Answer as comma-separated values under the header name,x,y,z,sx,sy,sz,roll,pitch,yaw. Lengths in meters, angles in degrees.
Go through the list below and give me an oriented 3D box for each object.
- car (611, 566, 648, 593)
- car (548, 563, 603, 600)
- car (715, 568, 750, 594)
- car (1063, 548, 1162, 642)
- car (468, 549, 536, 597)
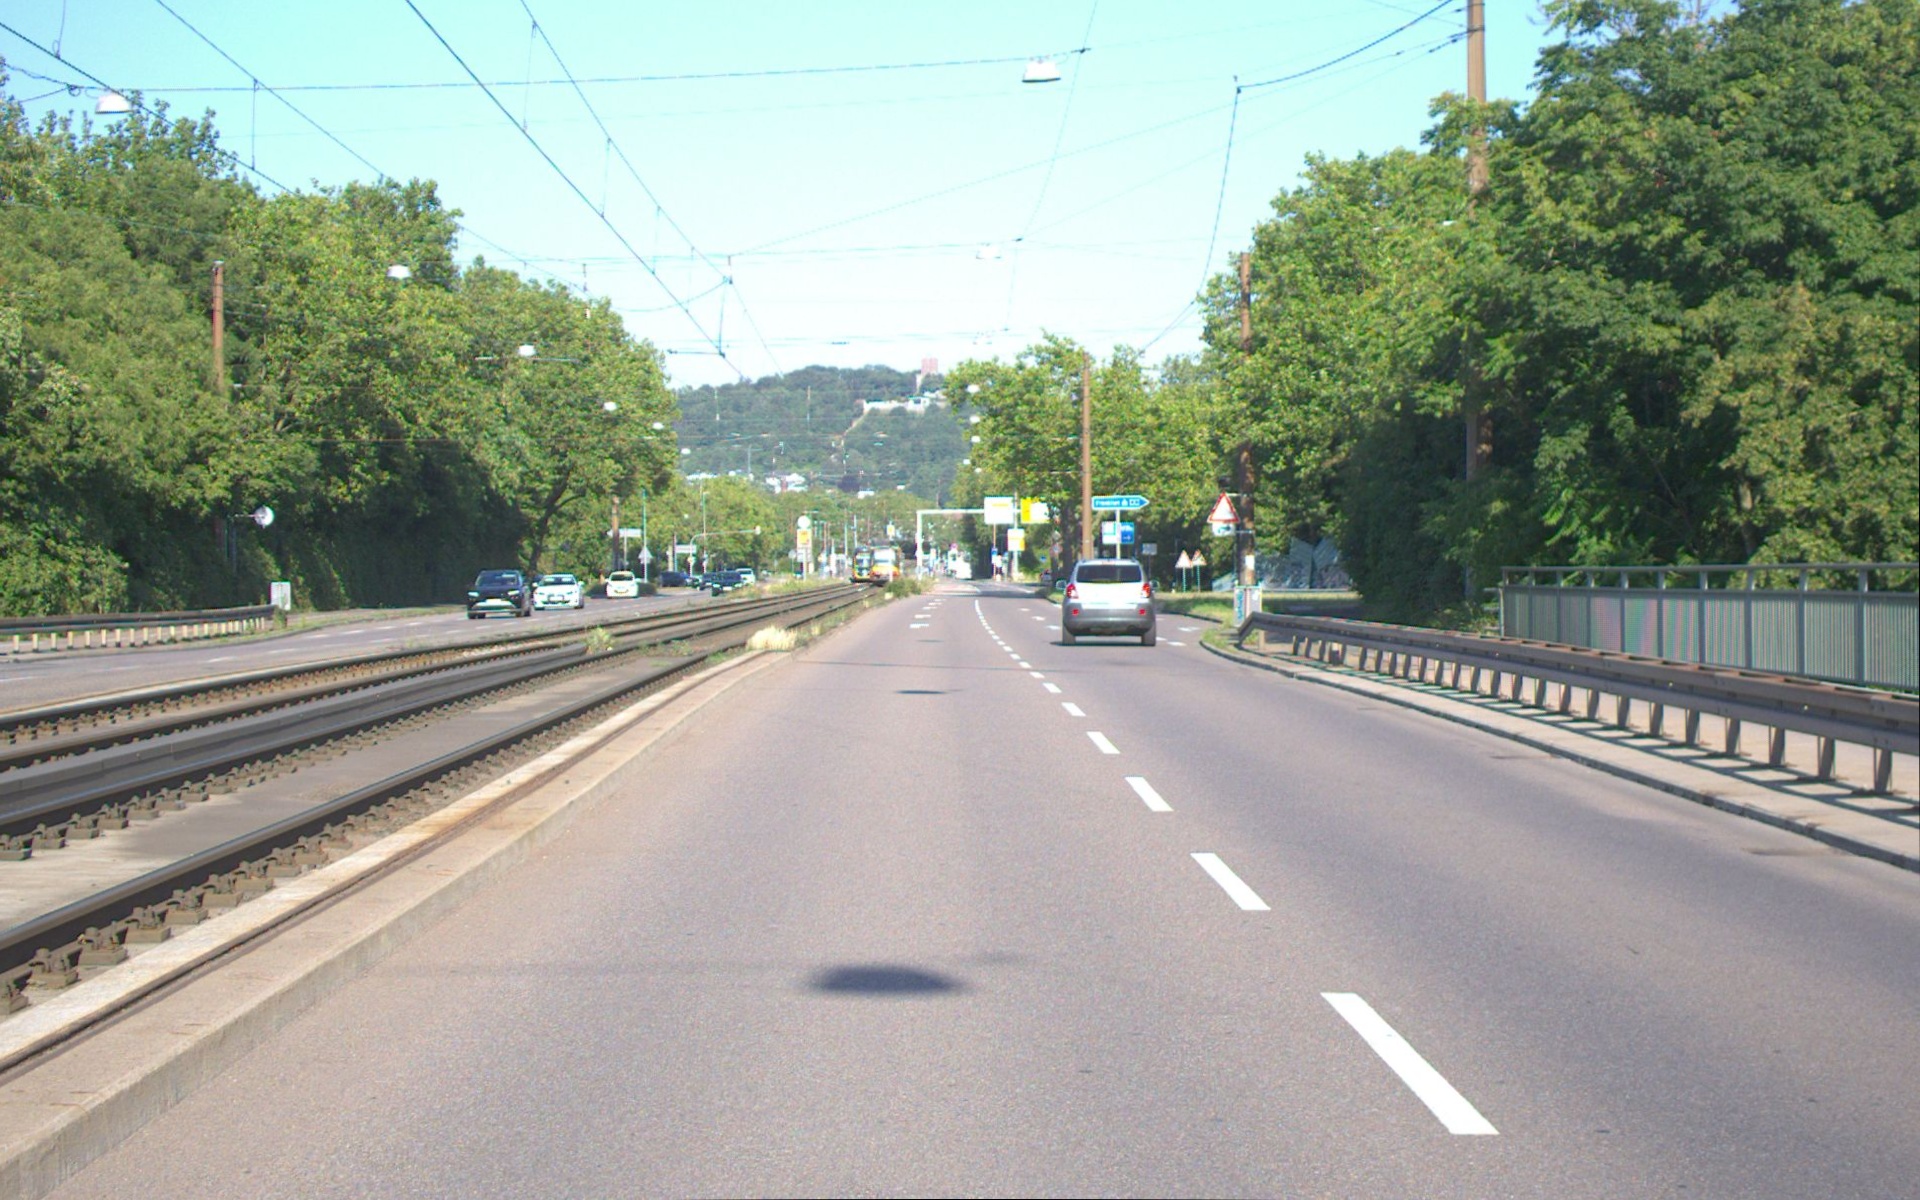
name,x,y,z,sx,sy,sz,roll,pitch,yaw
car,-19.481,-1.215,203.015,1.691,1.550,4.191,-2,1,1
car,-15.650,-0.782,140.062,1.754,1.409,4.878,-2,1,-1
car,-13.342,-1.110,201.985,1.657,1.428,4.502,-2,1,1
car,3.036,-0.113,67.751,1.809,1.767,3.862,1,1,4
car,-15.442,-0.927,116.097,1.709,1.575,4.801,-1,1,-1
